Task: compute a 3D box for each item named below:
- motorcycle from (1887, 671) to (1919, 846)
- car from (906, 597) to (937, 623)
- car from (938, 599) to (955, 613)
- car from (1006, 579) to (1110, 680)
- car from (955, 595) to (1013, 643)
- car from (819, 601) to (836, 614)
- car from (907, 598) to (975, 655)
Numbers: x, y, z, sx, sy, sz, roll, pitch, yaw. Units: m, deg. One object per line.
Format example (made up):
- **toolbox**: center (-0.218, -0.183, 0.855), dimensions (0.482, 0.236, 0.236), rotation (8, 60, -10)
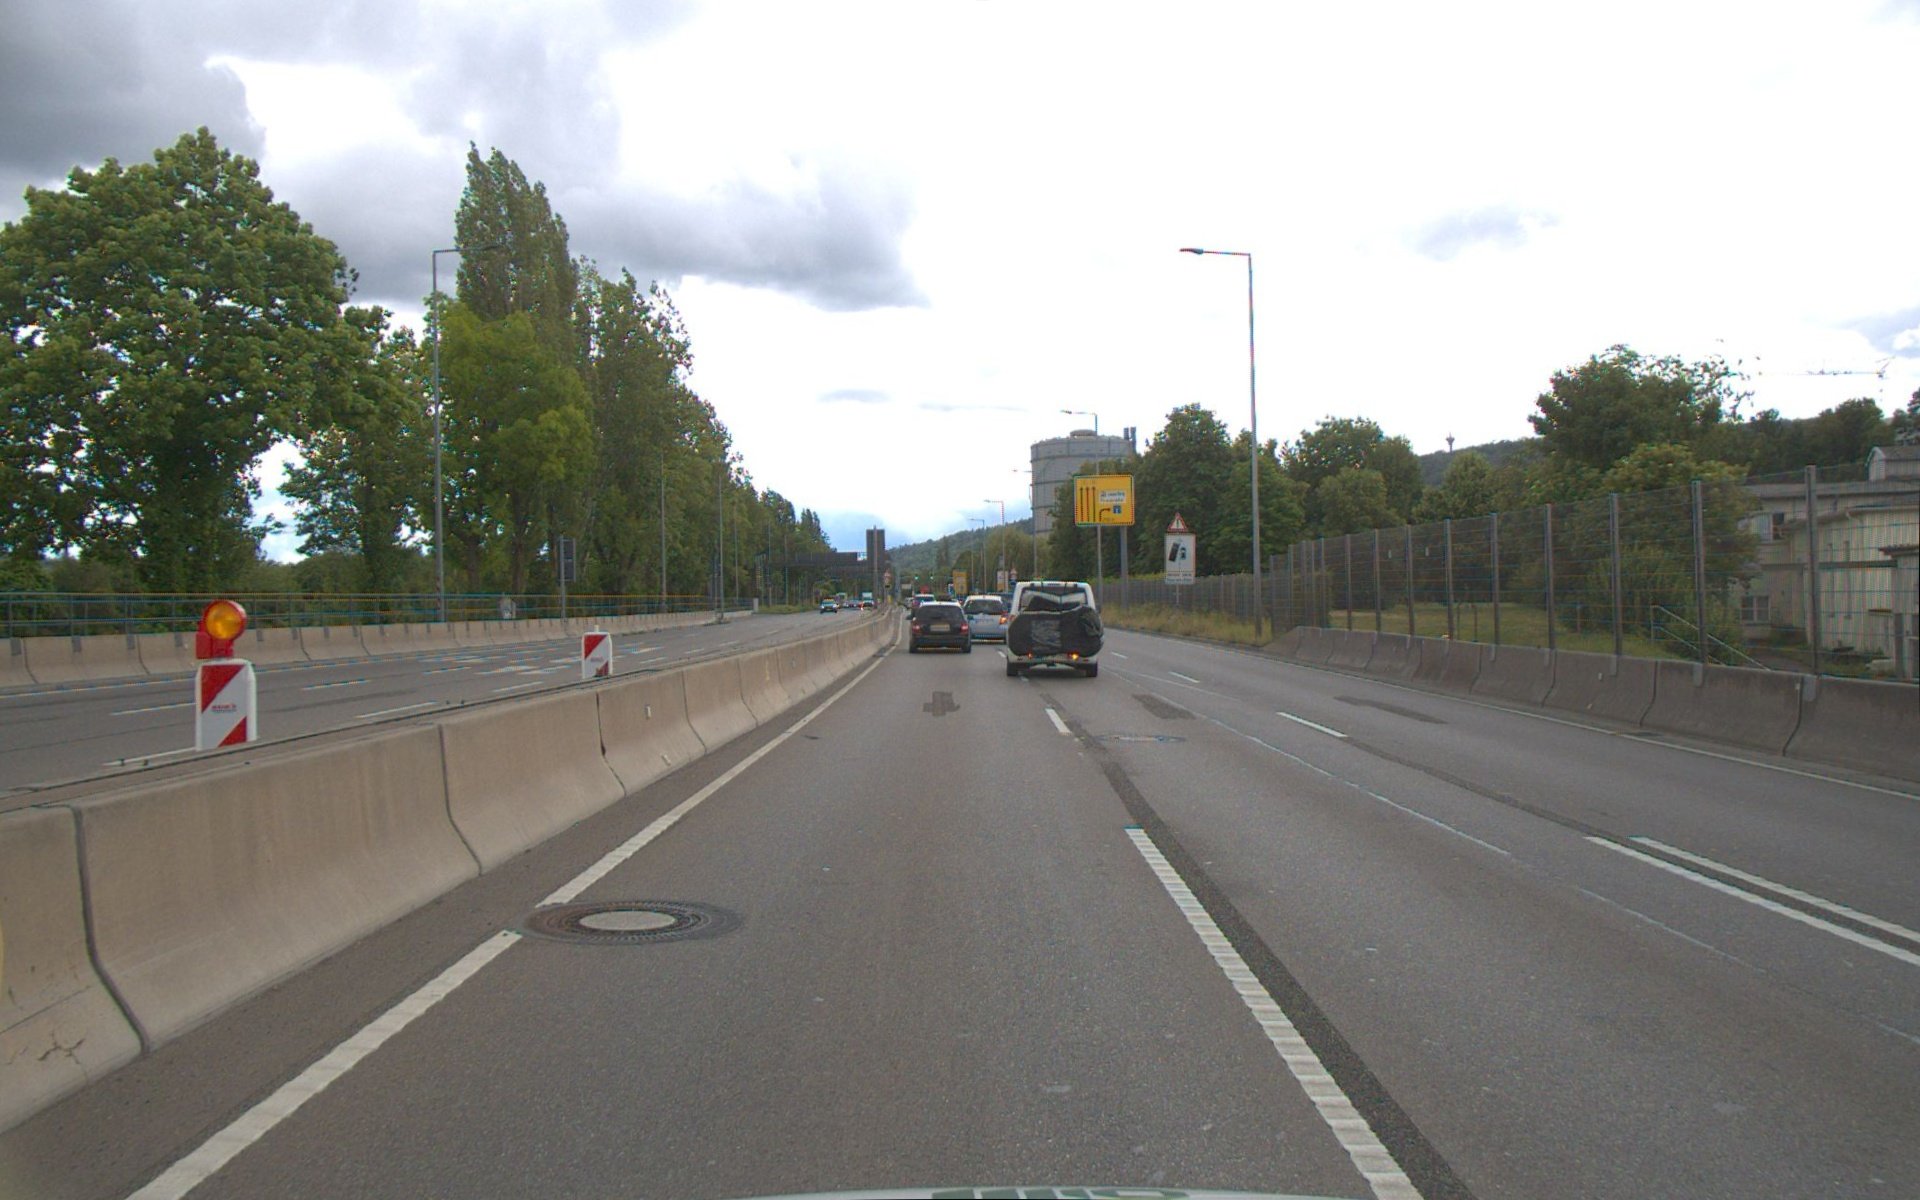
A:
- **motorcycle**: center (6.535, 1.004, 9.542), dimensions (0.729, 1.102, 2.662), rotation (-1, 0, -4)
- **car**: center (-2.564, 0.705, 111.734), dimensions (1.952, 1.702, 4.000), rotation (1, -1, 0)
- **car**: center (-1.689, 0.702, 202.222), dimensions (1.953, 1.683, 3.998), rotation (0, 0, -2)
- **car**: center (1.954, 0.555, 34.015), dimensions (1.951, 1.891, 5.642), rotation (0, 0, 2)
- **car**: center (0.824, 0.608, 55.387), dimensions (1.881, 1.515, 4.066), rotation (0, 0, 1)
- **car**: center (-14.096, 0.779, 175.963), dimensions (1.699, 1.398, 3.613), rotation (0, 0, -4)
- **car**: center (-0.493, 0.720, 46.782), dimensions (1.777, 1.459, 4.066), rotation (-2, 0, 1)
